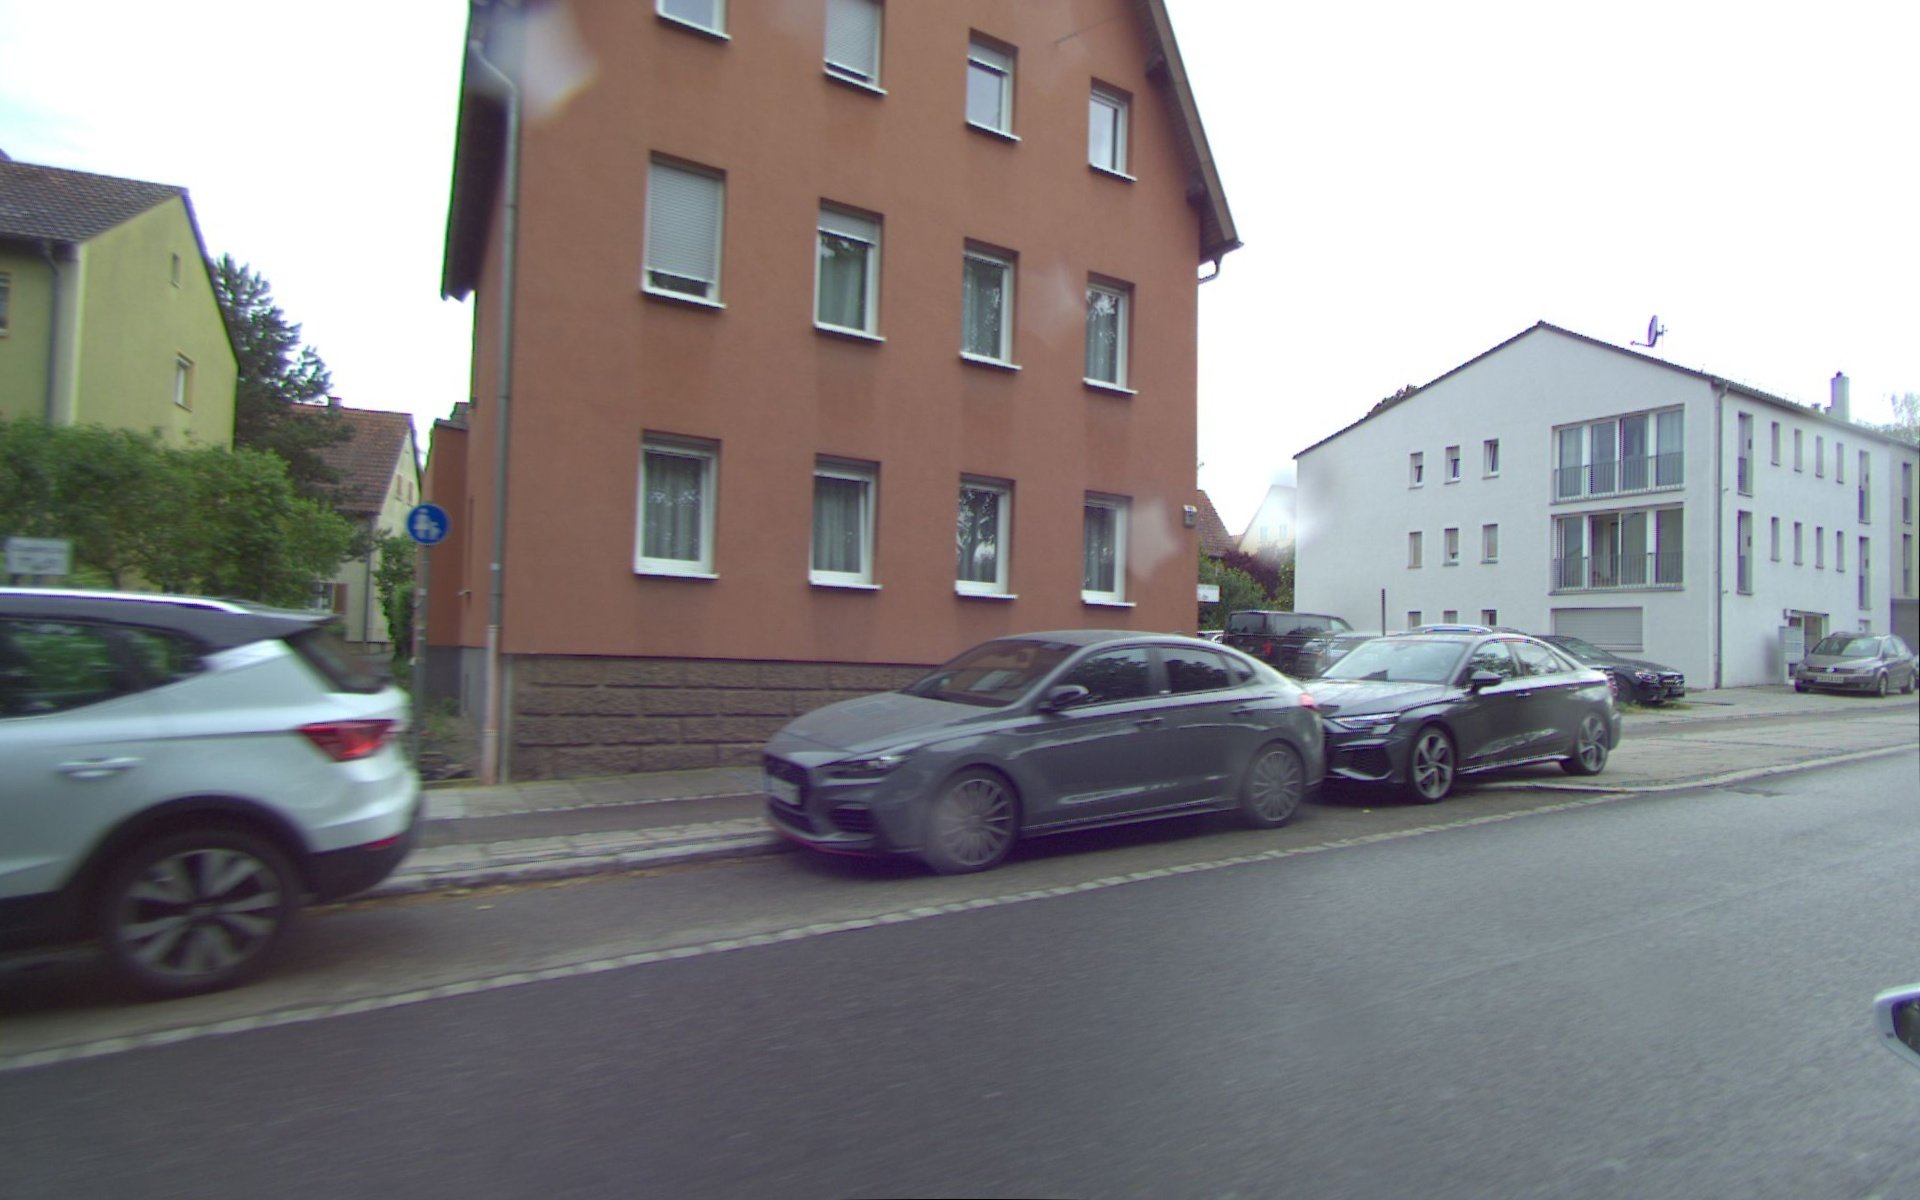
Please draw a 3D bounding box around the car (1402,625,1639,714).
[{"bbox_3d":[12.058,1.433,21.908,1.974,1.720,4.137,1,-2,-26],"label":"car"}]

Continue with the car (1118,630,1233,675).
[{"bbox_3d":[6.919,1.653,32.195,3.507,1.364,1.456,1,-2,-28],"label":"car"}]

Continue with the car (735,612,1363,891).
[{"bbox_3d":[0.749,0.876,7.261,4.333,1.502,1.736,1,-2,-30],"label":"car"}]

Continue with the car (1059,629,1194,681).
[{"bbox_3d":[4.605,1.490,27.715,3.507,1.364,1.456,1,-2,-28],"label":"car"}]

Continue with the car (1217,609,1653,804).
[{"bbox_3d":[4.664,0.908,9.695,4.307,1.502,1.627,2,0,-30],"label":"car"}]

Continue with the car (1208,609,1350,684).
[{"bbox_3d":[8.829,1.268,27.763,3.539,1.941,1.833,1,-2,-29],"label":"car"}]

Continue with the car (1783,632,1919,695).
[{"bbox_3d":[23.552,1.613,26.464,4.050,1.550,1.659,1,-2,-32],"label":"car"}]

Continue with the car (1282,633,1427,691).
[{"bbox_3d":[9.950,1.518,25.298,3.507,1.364,1.456,1,-2,-28],"label":"car"}]

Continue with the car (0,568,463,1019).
[{"bbox_3d":[-4.262,0.720,3.950,4.068,1.562,1.684,0,-4,-30],"label":"car"}]

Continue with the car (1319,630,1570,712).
[{"bbox_3d":[9.773,1.375,20.626,2.043,1.482,4.271,1,-2,-29],"label":"car"}]

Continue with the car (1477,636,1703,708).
[{"bbox_3d":[14.300,1.571,23.056,1.974,1.491,3.974,1,-2,-26],"label":"car"}]

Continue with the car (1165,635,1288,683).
[{"bbox_3d":[7.979,1.734,30.010,3.507,1.364,1.456,1,-2,-28],"label":"car"}]

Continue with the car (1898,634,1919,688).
[{"bbox_3d":[29.595,1.782,29.747,4.050,1.550,1.659,1,-2,-32],"label":"car"}]
